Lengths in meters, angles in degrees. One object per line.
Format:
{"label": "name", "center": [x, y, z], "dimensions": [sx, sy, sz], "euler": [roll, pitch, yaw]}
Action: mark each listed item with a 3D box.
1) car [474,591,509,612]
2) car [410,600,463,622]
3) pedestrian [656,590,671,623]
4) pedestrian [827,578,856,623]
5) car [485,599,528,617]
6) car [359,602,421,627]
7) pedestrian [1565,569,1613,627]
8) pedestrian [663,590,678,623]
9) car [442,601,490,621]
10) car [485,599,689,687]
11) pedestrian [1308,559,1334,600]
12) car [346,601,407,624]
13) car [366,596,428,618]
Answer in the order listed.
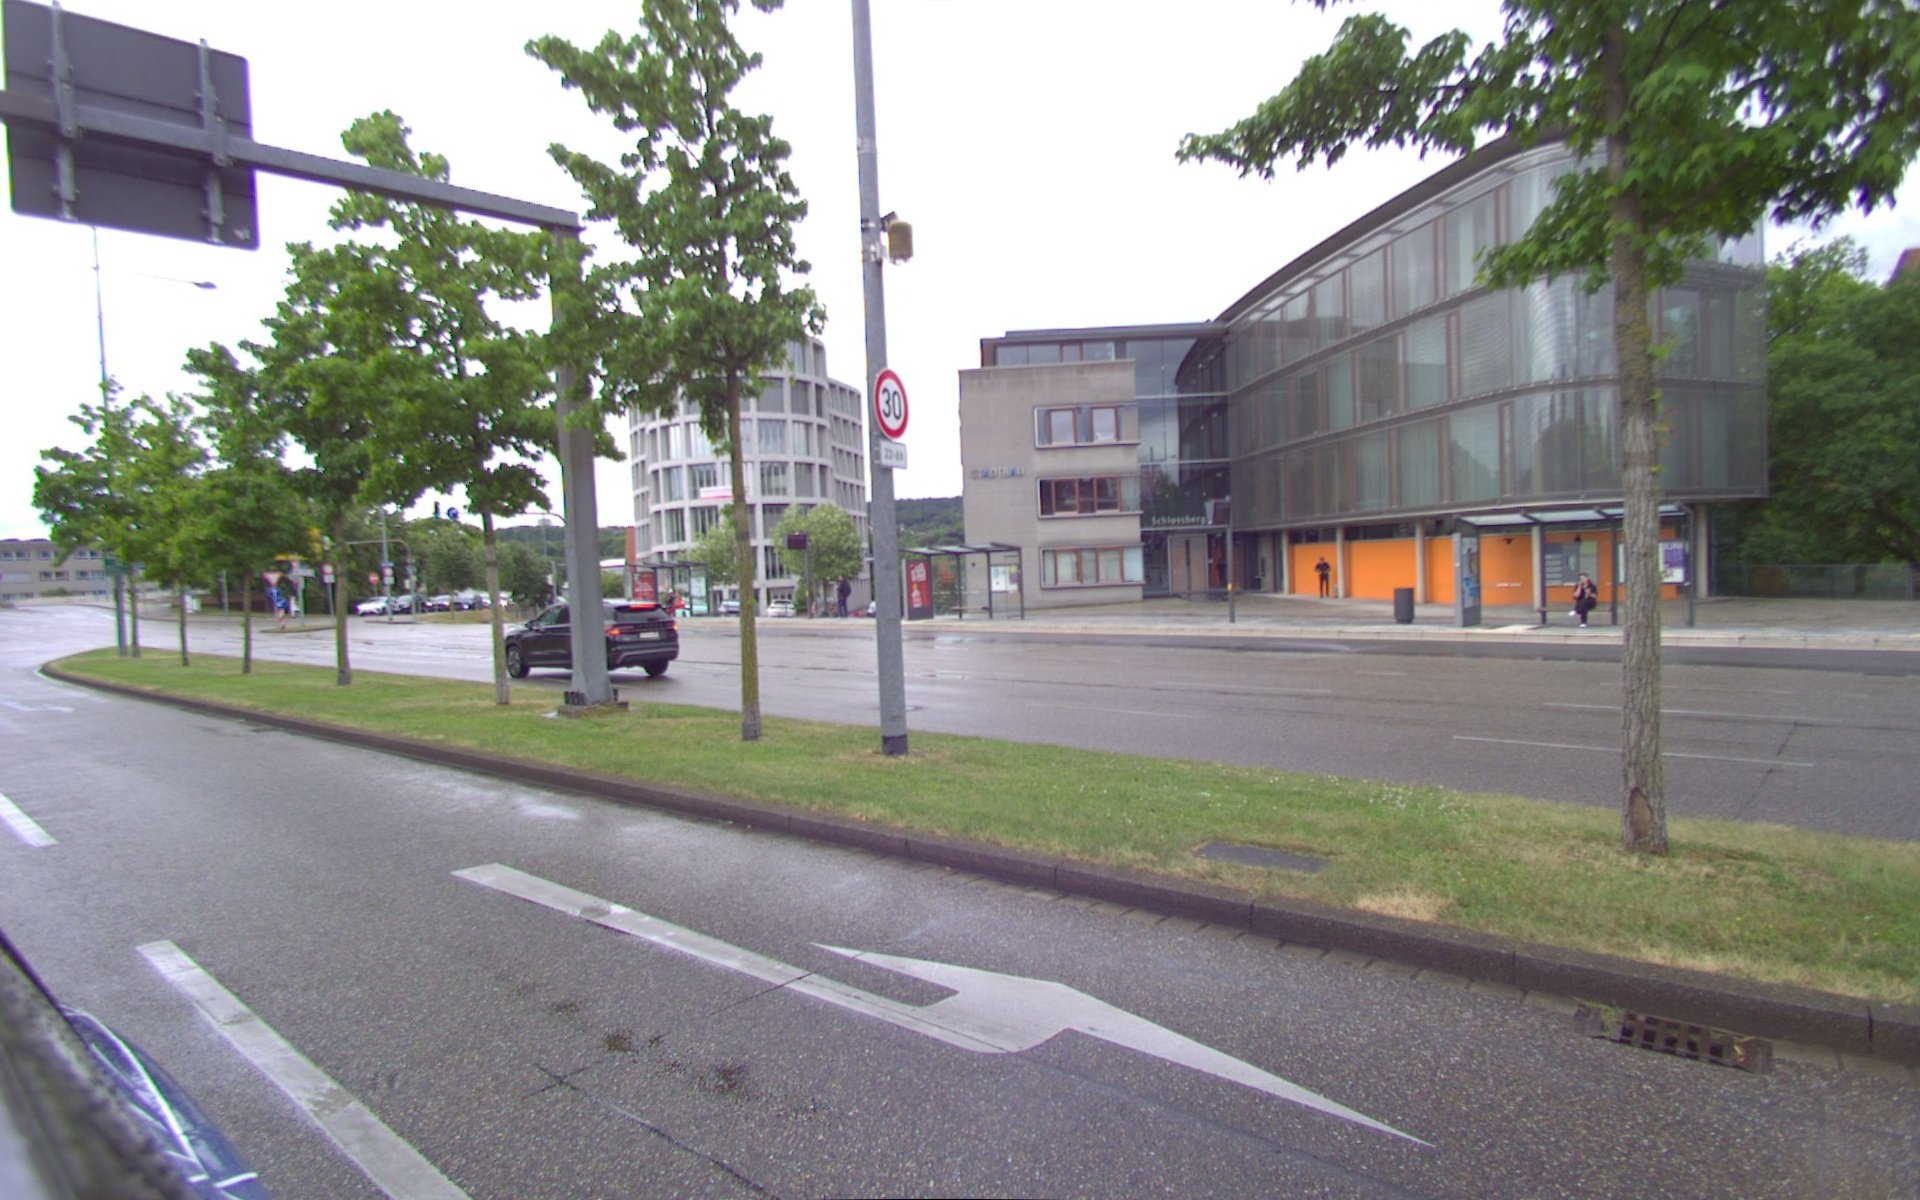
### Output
{"label": "car", "center": [-46.281, 0.139, 100.037], "dimensions": [1.969, 2.029, 4.005], "euler": [-1, -1, -6]}
{"label": "car", "center": [-44.302, 0.901, 85.789], "dimensions": [2.164, 1.725, 4.919], "euler": [-1, 0, -3]}
{"label": "pedestrian", "center": [-14.737, 0.311, 50.341], "dimensions": [0.501, 1.647, 0.497], "euler": [-1, 0, 41]}
{"label": "pedestrian", "center": [-4.834, 0.023, 41.369], "dimensions": [0.964, 1.773, 0.783], "euler": [-1, 0, 12]}
{"label": "car", "center": [-47.519, 0.830, 106.021], "dimensions": [4.914, 1.725, 2.167], "euler": [-1, 0, 41]}
{"label": "car", "center": [-43.730, 1.069, 77.832], "dimensions": [2.164, 1.725, 4.919], "euler": [-1, 0, -3]}
{"label": "pedestrian", "center": [14.600, -0.045, 23.487], "dimensions": [0.790, 1.334, 0.793], "euler": [-1, 0, 42]}
{"label": "pedestrian", "center": [-14.566, 0.306, 50.910], "dimensions": [0.535, 1.647, 0.514], "euler": [-1, 0, 41]}
{"label": "car", "center": [-45.370, 1.016, 93.080], "dimensions": [2.164, 1.725, 4.920], "euler": [-1, 0, -3]}
{"label": "car", "center": [-7.972, 0.862, 21.459], "dimensions": [4.590, 1.652, 1.805], "euler": [-1, 0, 36]}
{"label": "pedestrian", "center": [14.948, -0.835, 41.933], "dimensions": [0.697, 1.666, 0.852], "euler": [-1, 0, -6]}
{"label": "car", "center": [-46.700, 0.996, 81.164], "dimensions": [2.164, 1.725, 4.919], "euler": [-1, 0, -2]}
{"label": "car", "center": [-56.064, 0.666, 100.840], "dimensions": [4.963, 2.029, 2.311], "euler": [-1, 0, 0]}
